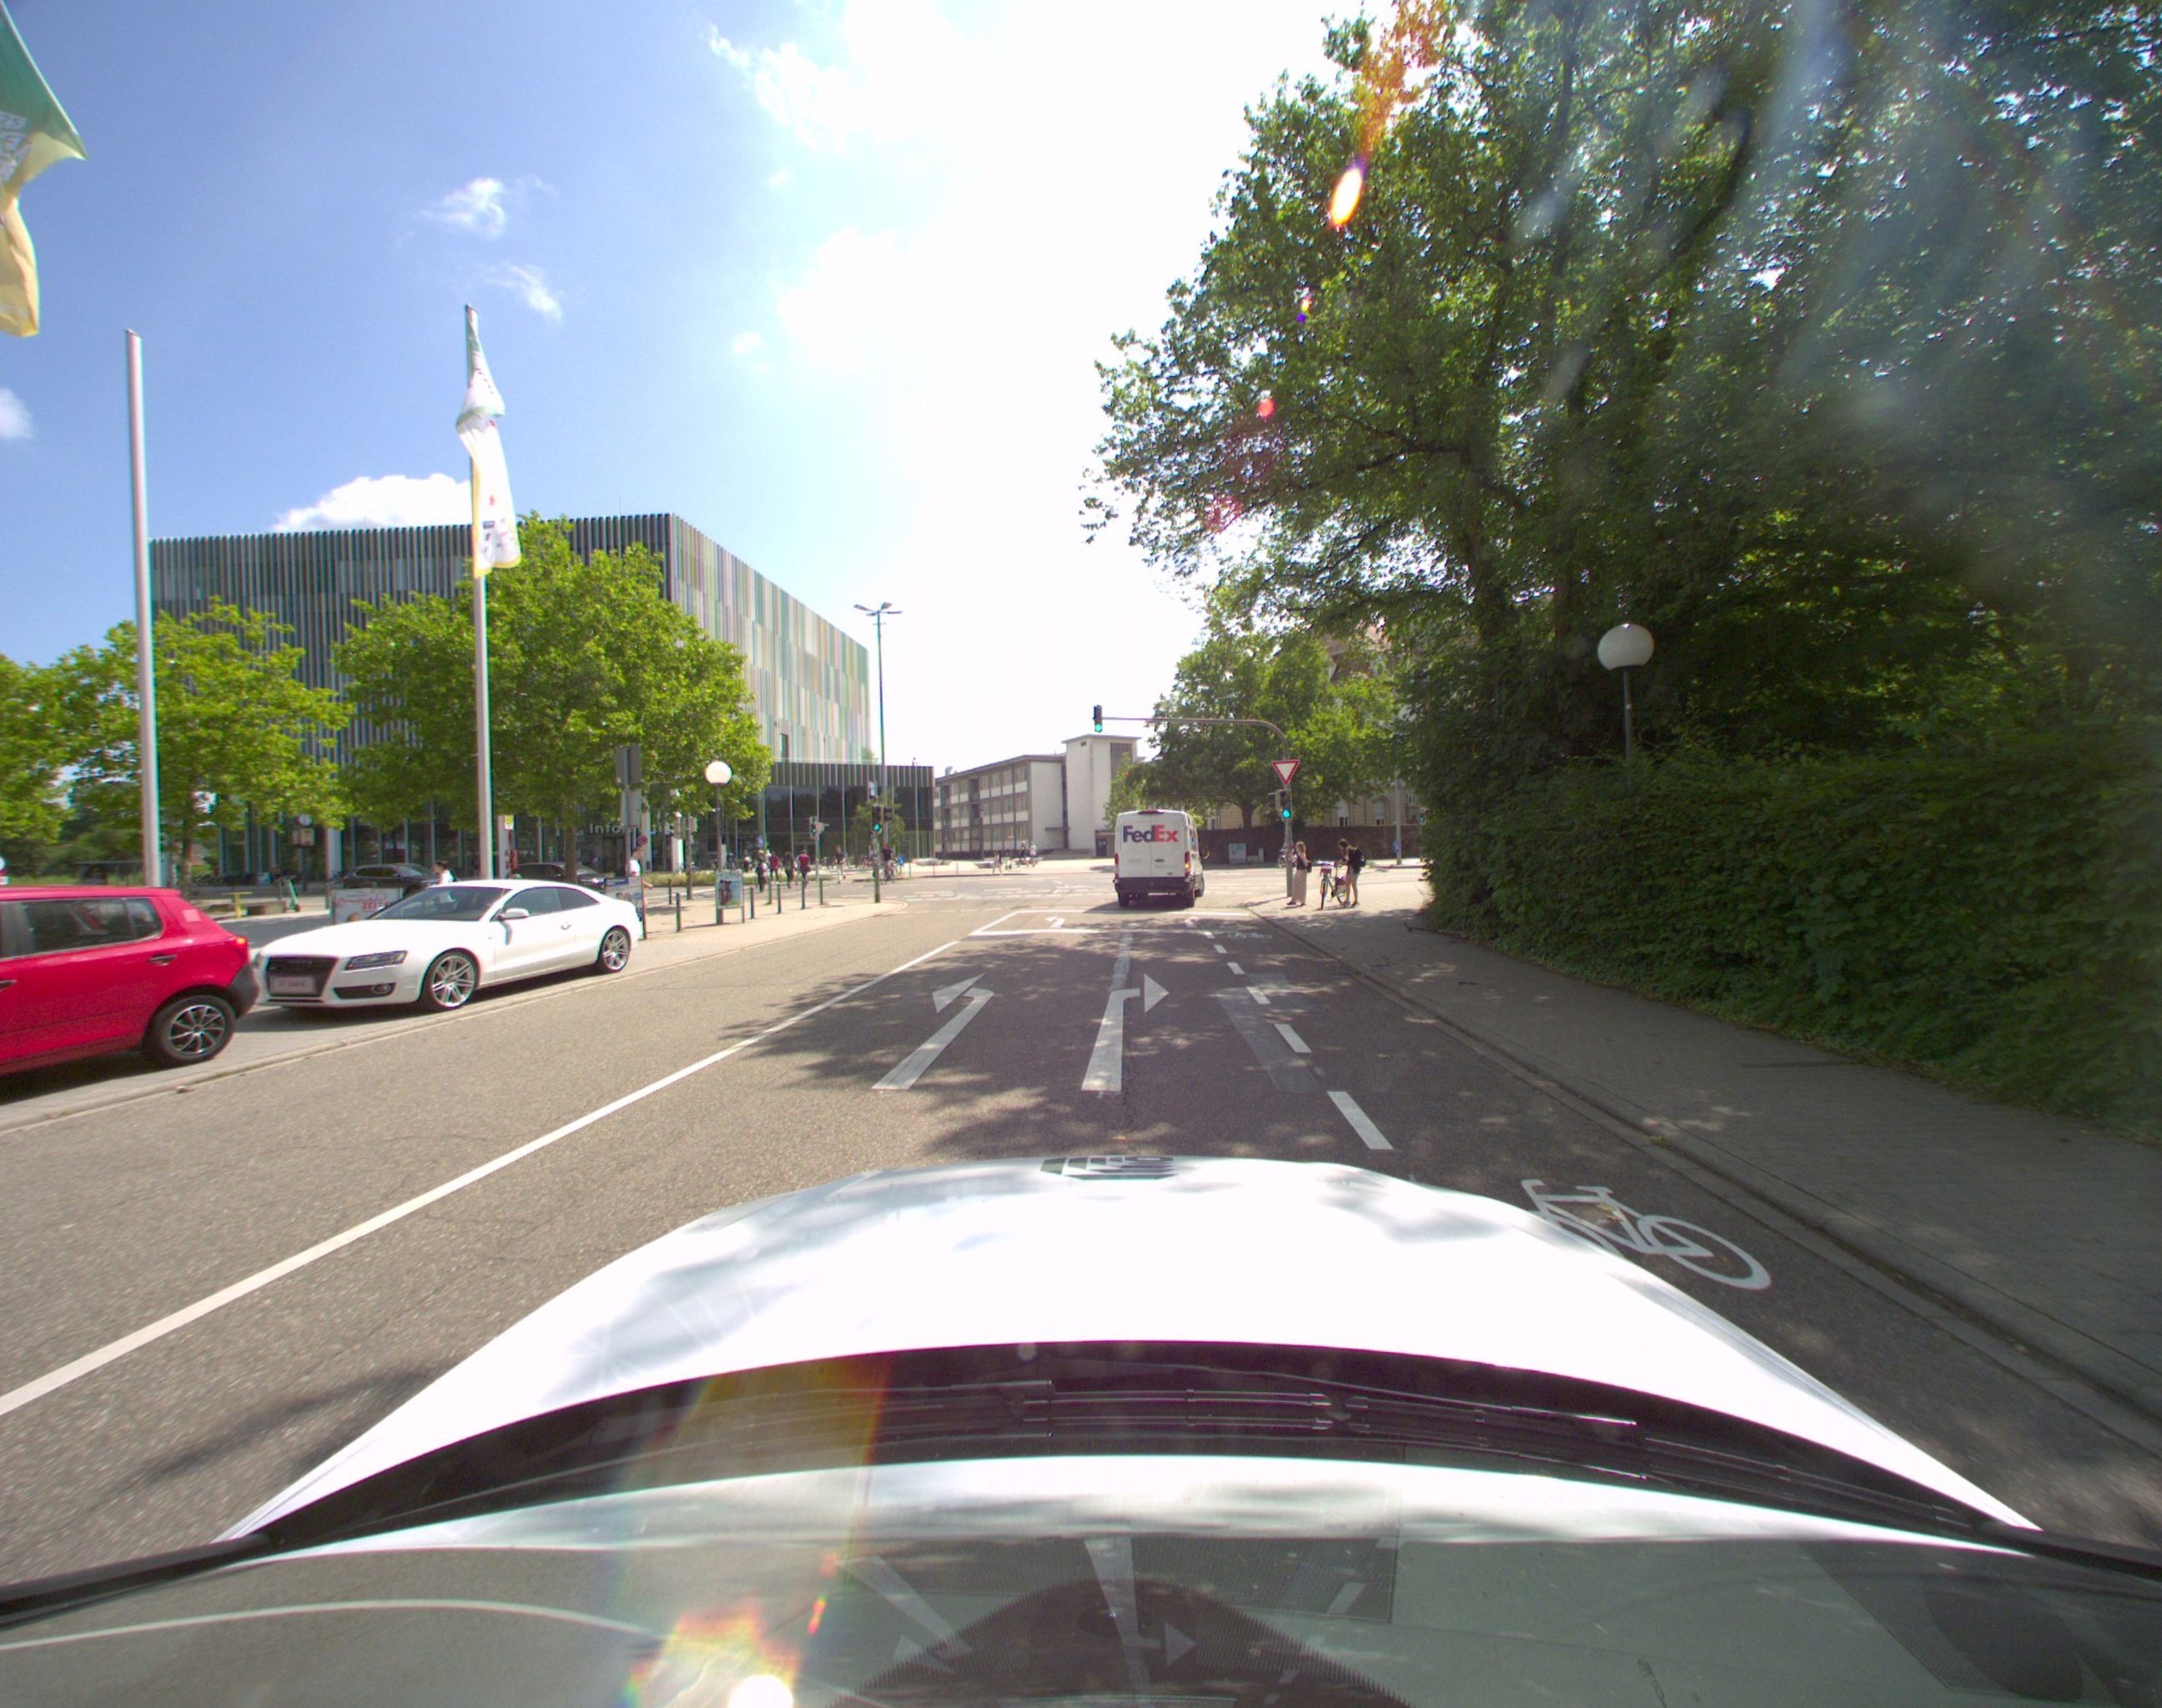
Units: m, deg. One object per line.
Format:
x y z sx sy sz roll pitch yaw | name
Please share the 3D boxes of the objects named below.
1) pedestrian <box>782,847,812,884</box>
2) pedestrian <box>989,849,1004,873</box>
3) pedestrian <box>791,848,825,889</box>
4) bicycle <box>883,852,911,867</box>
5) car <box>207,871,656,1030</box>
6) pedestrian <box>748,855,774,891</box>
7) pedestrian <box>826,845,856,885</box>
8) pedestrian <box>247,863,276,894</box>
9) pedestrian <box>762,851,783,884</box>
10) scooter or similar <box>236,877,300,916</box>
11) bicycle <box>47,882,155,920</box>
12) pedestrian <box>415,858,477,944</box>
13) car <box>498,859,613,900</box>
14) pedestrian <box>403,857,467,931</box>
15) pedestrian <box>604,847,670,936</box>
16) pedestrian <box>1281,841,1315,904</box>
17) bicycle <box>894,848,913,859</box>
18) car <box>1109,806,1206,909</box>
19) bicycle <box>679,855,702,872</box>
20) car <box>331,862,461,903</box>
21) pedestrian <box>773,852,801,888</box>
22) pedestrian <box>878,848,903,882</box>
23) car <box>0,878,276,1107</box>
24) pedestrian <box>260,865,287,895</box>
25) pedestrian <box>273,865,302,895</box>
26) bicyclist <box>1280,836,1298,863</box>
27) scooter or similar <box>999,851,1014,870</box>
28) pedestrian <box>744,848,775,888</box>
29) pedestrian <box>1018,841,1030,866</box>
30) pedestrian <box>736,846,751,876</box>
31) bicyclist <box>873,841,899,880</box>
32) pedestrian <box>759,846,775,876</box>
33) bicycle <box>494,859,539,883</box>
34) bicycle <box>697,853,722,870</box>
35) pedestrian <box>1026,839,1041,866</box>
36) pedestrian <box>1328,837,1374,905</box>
-14.290 0.579 41.009 0.853 1.818 1.103 -2 0 27 | pedestrian
-5.312 0.429 51.254 0.826 1.523 0.811 -2 0 -15 | pedestrian
-12.604 0.667 37.621 0.799 1.807 1.274 -2 0 21 | pedestrian
-16.393 0.488 72.563 1.207 1.237 2.916 -1 0 -41 | bicycle
-7.602 0.991 10.319 1.669 1.395 4.669 0 1 5 | car
-14.391 0.846 36.613 0.767 1.597 0.800 -2 0 6 | pedestrian
-11.864 0.533 40.274 0.697 1.855 1.404 -2 2 13 | pedestrian
-60.300 1.795 59.949 0.968 2.176 1.129 -1 0 4 | pedestrian
-16.224 0.690 42.859 0.750 1.678 0.756 -2 0 3 | pedestrian
-25.875 1.344 25.924 1.718 1.196 0.495 -2 0 9 | scooter or similar
-30.526 1.453 25.392 2.598 1.113 0.665 -1 0 2 | bicycle
-14.185 1.025 18.216 0.716 1.859 0.771 -2 0 6 | pedestrian
-24.095 1.143 37.408 4.261 1.661 1.655 -2 1 5 | car
-14.968 0.919 18.887 0.839 1.651 0.747 -2 0 5 | pedestrian
-9.491 0.772 17.441 0.715 1.851 1.091 0 0 8 | pedestrian
5.574 0.471 20.963 0.727 1.575 0.777 -2 0 9 | pedestrian
-26.620 -0.080 122.245 1.104 1.574 2.984 -1 0 31 | bicycle
2.327 0.041 23.195 2.081 2.566 5.621 0 1 12 | car
-30.297 0.707 63.129 1.205 1.237 2.921 -1 0 -33 | bicycle
-31.845 1.310 37.938 4.786 1.661 1.655 -2 0 5 | car
-13.962 0.778 38.727 0.818 1.654 0.867 -2 1 23 | pedestrian
-10.761 0.639 46.078 0.822 1.870 1.091 -2 0 27 | pedestrian
-8.190 0.979 5.379 1.669 1.467 3.916 0 1 5 | car
-61.506 1.974 62.028 0.968 2.201 1.016 -1 0 4 | pedestrian
-59.014 1.948 60.588 0.968 2.176 1.129 -1 0 4 | pedestrian
11.314 -0.238 44.284 0.517 1.452 0.780 -2 0 -28 | bicyclist
-5.141 0.433 56.042 0.717 1.178 2.714 -2 1 -12 | scooter or similar
-15.491 0.664 39.278 0.844 1.876 1.012 -2 0 27 | pedestrian
-4.193 -0.026 59.869 0.670 1.815 0.811 -2 0 -15 | pedestrian
-28.765 0.593 69.467 0.979 2.565 1.004 -1 0 -32 | pedestrian
-9.378 0.289 39.216 0.784 1.817 1.003 -2 0 14 | bicyclist
-26.926 0.612 69.802 0.980 2.565 1.003 -1 0 -39 | pedestrian
-44.694 1.313 64.501 1.007 1.838 2.963 -1 0 14 | bicycle
-29.118 0.599 63.871 1.383 1.237 2.921 -1 0 -32 | bicycle
-3.479 -0.094 59.129 0.867 1.889 0.908 -2 0 -15 | pedestrian
6.535 0.406 19.692 0.717 1.576 0.738 -5 -1 39 | pedestrian
